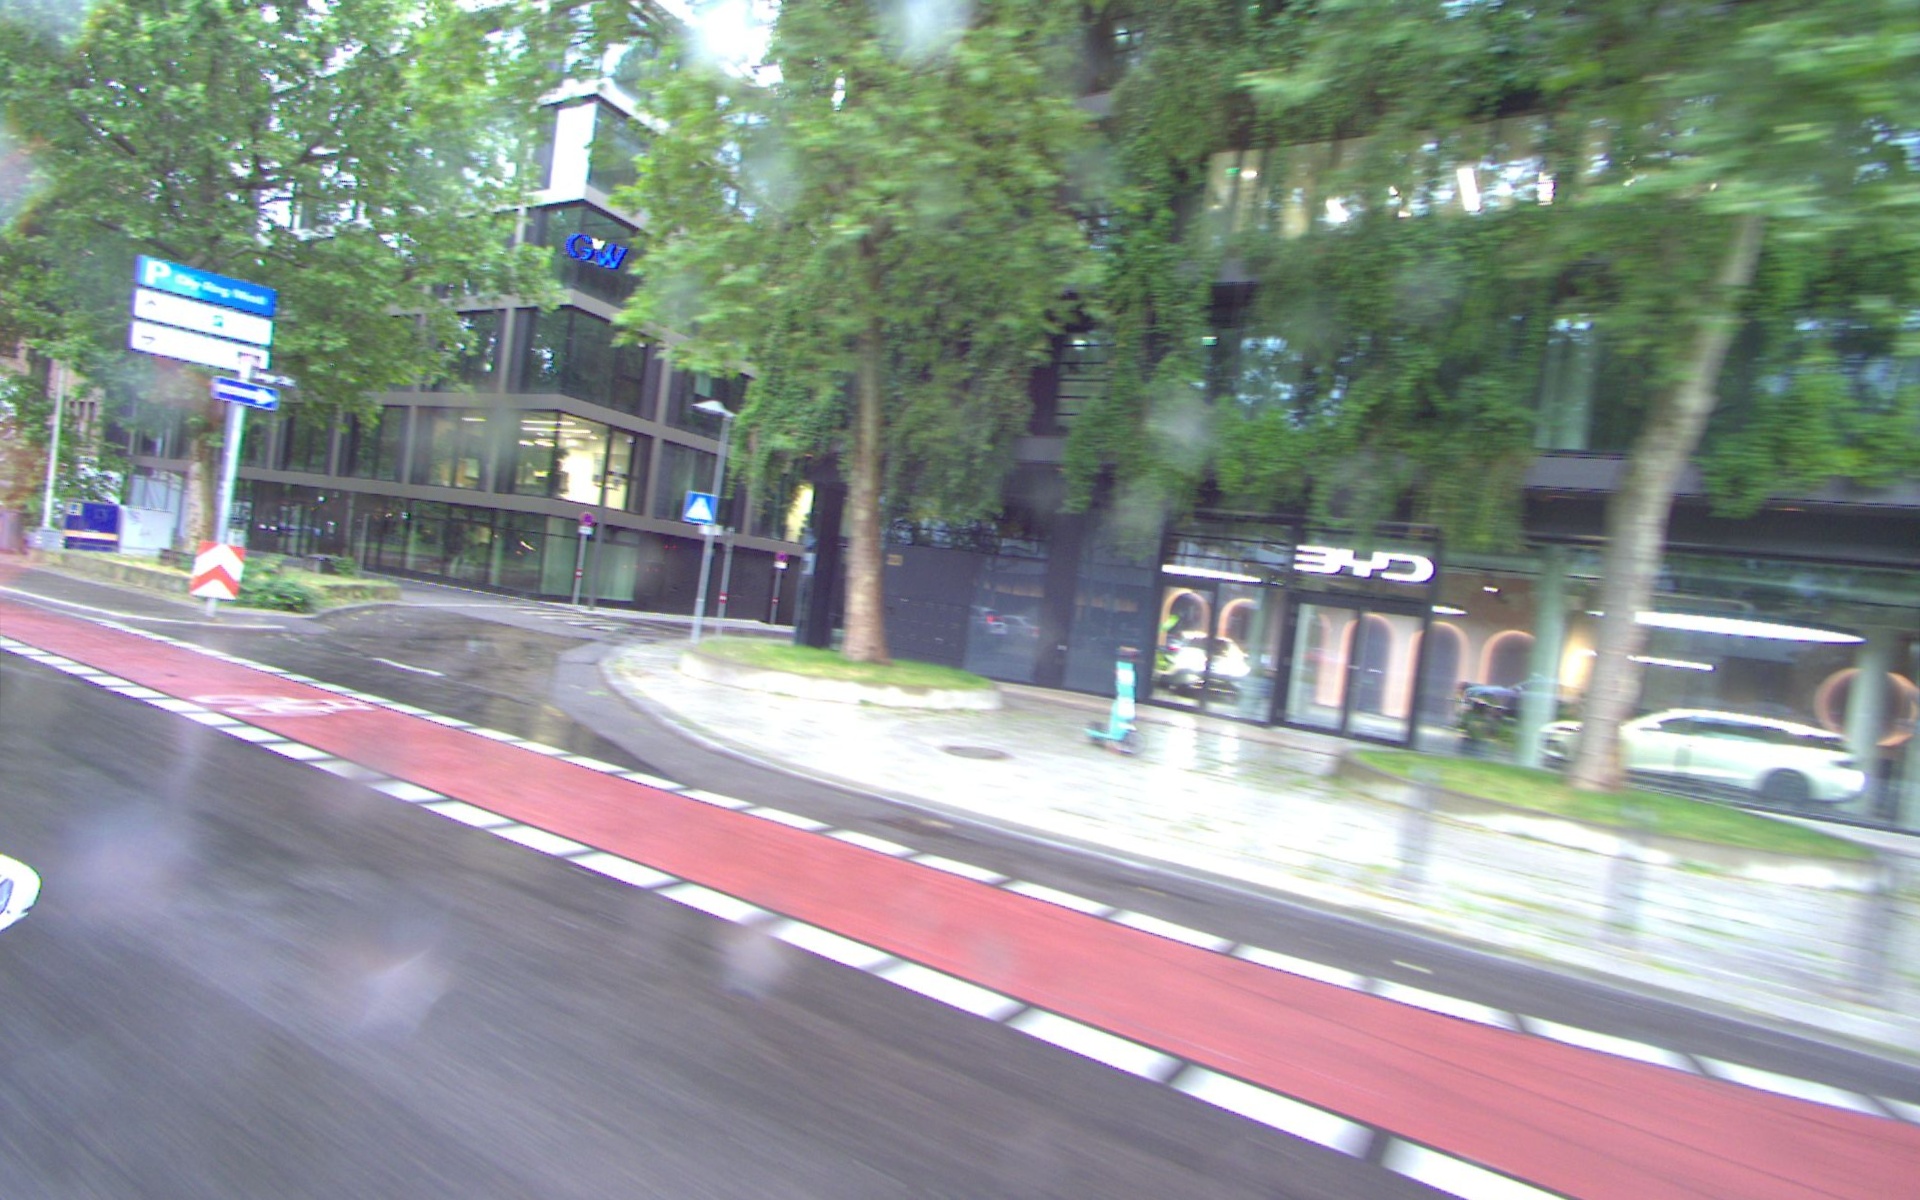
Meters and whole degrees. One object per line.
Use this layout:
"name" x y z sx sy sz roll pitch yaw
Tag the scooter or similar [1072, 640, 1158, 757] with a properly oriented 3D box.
"scooter or similar" 1.841 1.154 12.065 0.377 1.243 1.073 7 0 -22
